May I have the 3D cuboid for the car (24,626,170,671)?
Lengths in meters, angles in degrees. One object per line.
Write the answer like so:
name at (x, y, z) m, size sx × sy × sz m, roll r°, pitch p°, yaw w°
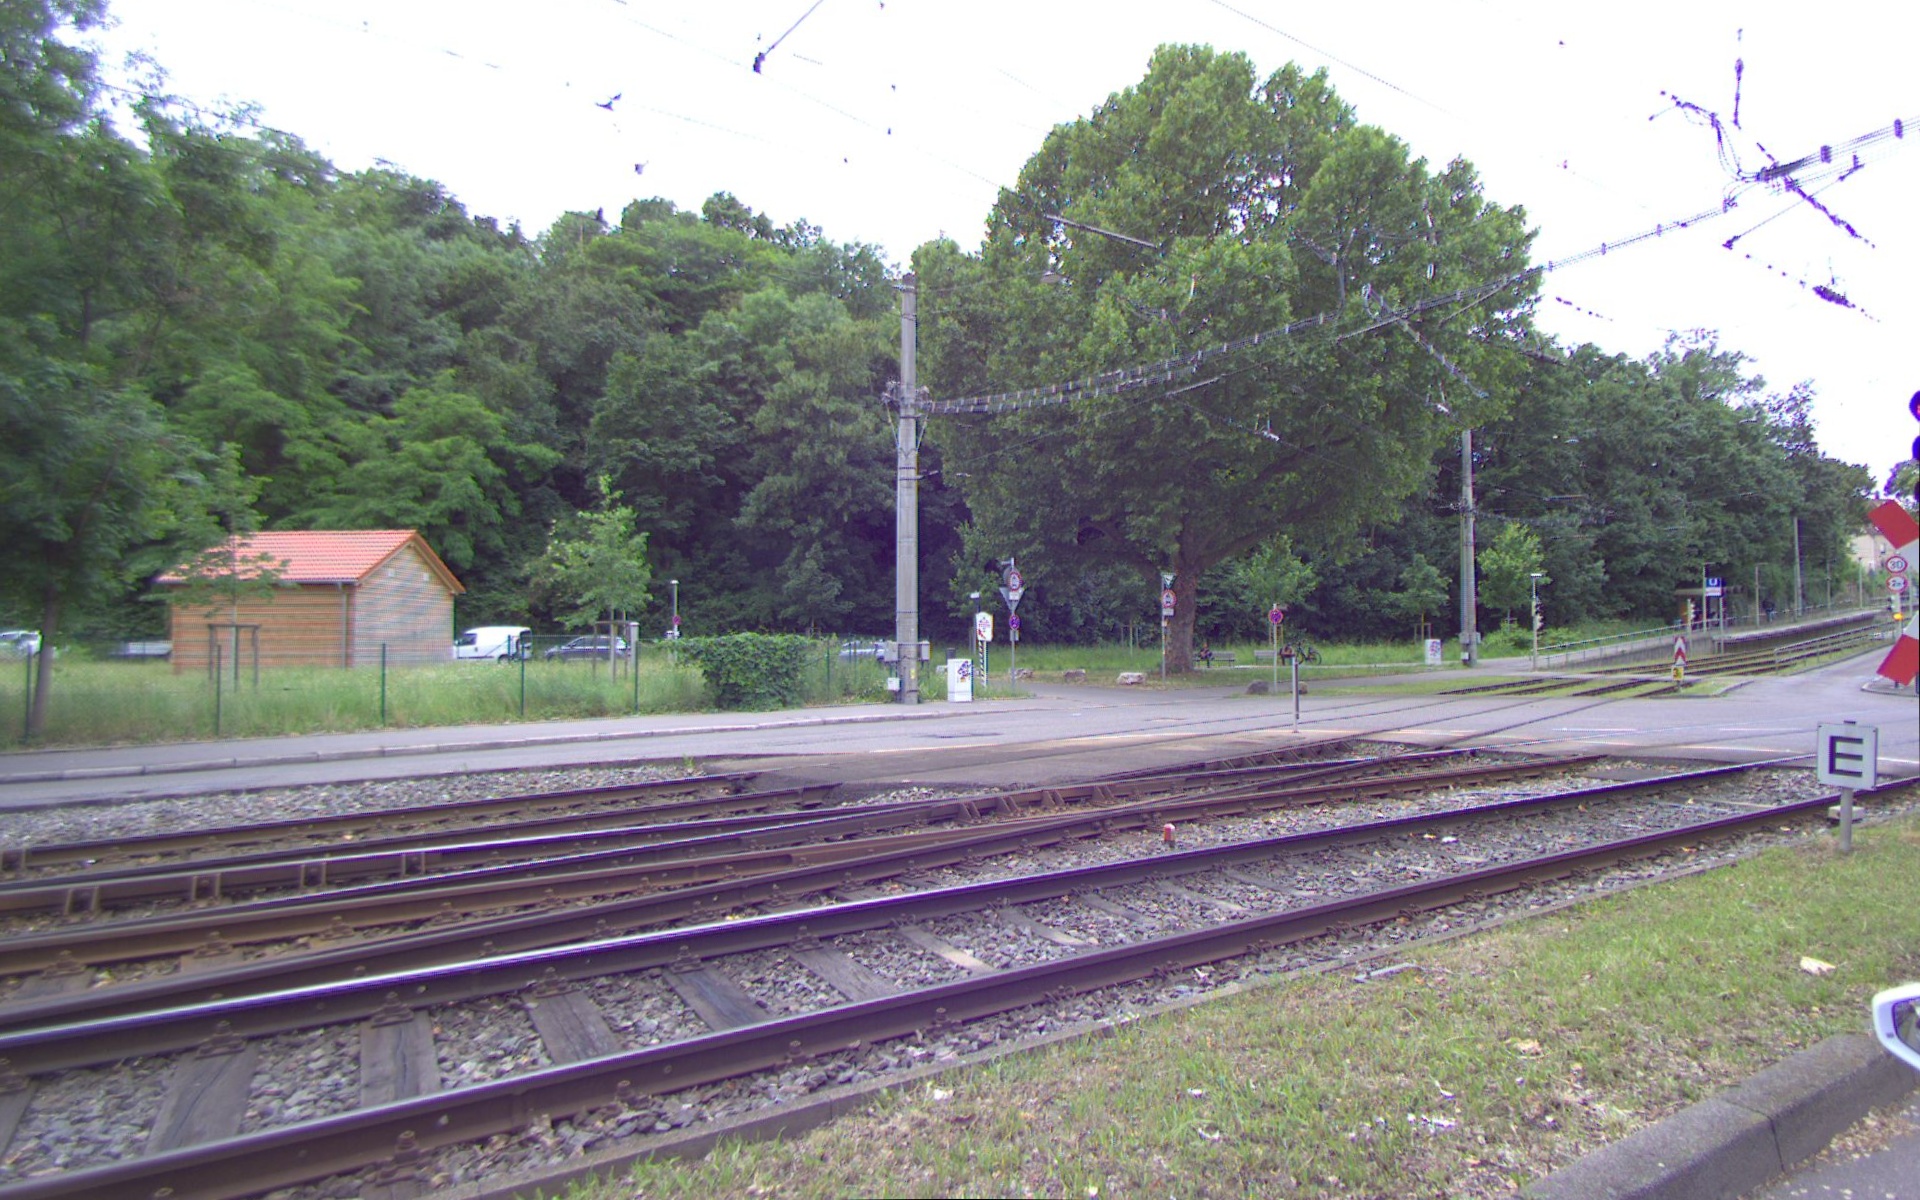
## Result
car at (-33.568, 1.875, 39.146) m, size 3.921 × 1.683 × 2.000 m, roll 0°, pitch -2°, yaw 0°

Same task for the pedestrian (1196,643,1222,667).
pedestrian at (12.001, 2.664, 48.496) m, size 1.059 × 1.110 × 0.906 m, roll 2°, pitch -1°, yaw 5°

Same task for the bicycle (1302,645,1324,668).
bicycle at (17.149, 2.726, 48.851) m, size 0.662 × 1.025 × 1.654 m, roll 2°, pitch -1°, yaw 8°

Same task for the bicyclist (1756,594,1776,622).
bicyclist at (56.677, 0.569, 70.647) m, size 1.042 × 1.873 × 0.815 m, roll -2°, pitch -1°, yaw -38°

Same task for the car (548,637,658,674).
car at (-16.224, 2.508, 45.830) m, size 4.320 × 1.603 × 1.999 m, roll 0°, pitch -2°, yaw -6°

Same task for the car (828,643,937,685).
car at (-3.605, 2.990, 47.356) m, size 4.985 × 1.913 × 2.355 m, roll 0°, pitch -2°, yaw -2°

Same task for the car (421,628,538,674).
car at (-21.805, 2.312, 45.713) m, size 4.320 × 2.040 × 1.999 m, roll 0°, pitch -2°, yaw -5°

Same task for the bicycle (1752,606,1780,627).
bicycle at (56.669, 1.142, 70.610) m, size 2.970 × 1.361 × 0.817 m, roll -2°, pitch -1°, yaw -39°

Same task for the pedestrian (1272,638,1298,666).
pedestrian at (15.889, 2.543, 49.119) m, size 1.035 × 1.284 × 1.117 m, roll 2°, pitch -1°, yaw 8°
